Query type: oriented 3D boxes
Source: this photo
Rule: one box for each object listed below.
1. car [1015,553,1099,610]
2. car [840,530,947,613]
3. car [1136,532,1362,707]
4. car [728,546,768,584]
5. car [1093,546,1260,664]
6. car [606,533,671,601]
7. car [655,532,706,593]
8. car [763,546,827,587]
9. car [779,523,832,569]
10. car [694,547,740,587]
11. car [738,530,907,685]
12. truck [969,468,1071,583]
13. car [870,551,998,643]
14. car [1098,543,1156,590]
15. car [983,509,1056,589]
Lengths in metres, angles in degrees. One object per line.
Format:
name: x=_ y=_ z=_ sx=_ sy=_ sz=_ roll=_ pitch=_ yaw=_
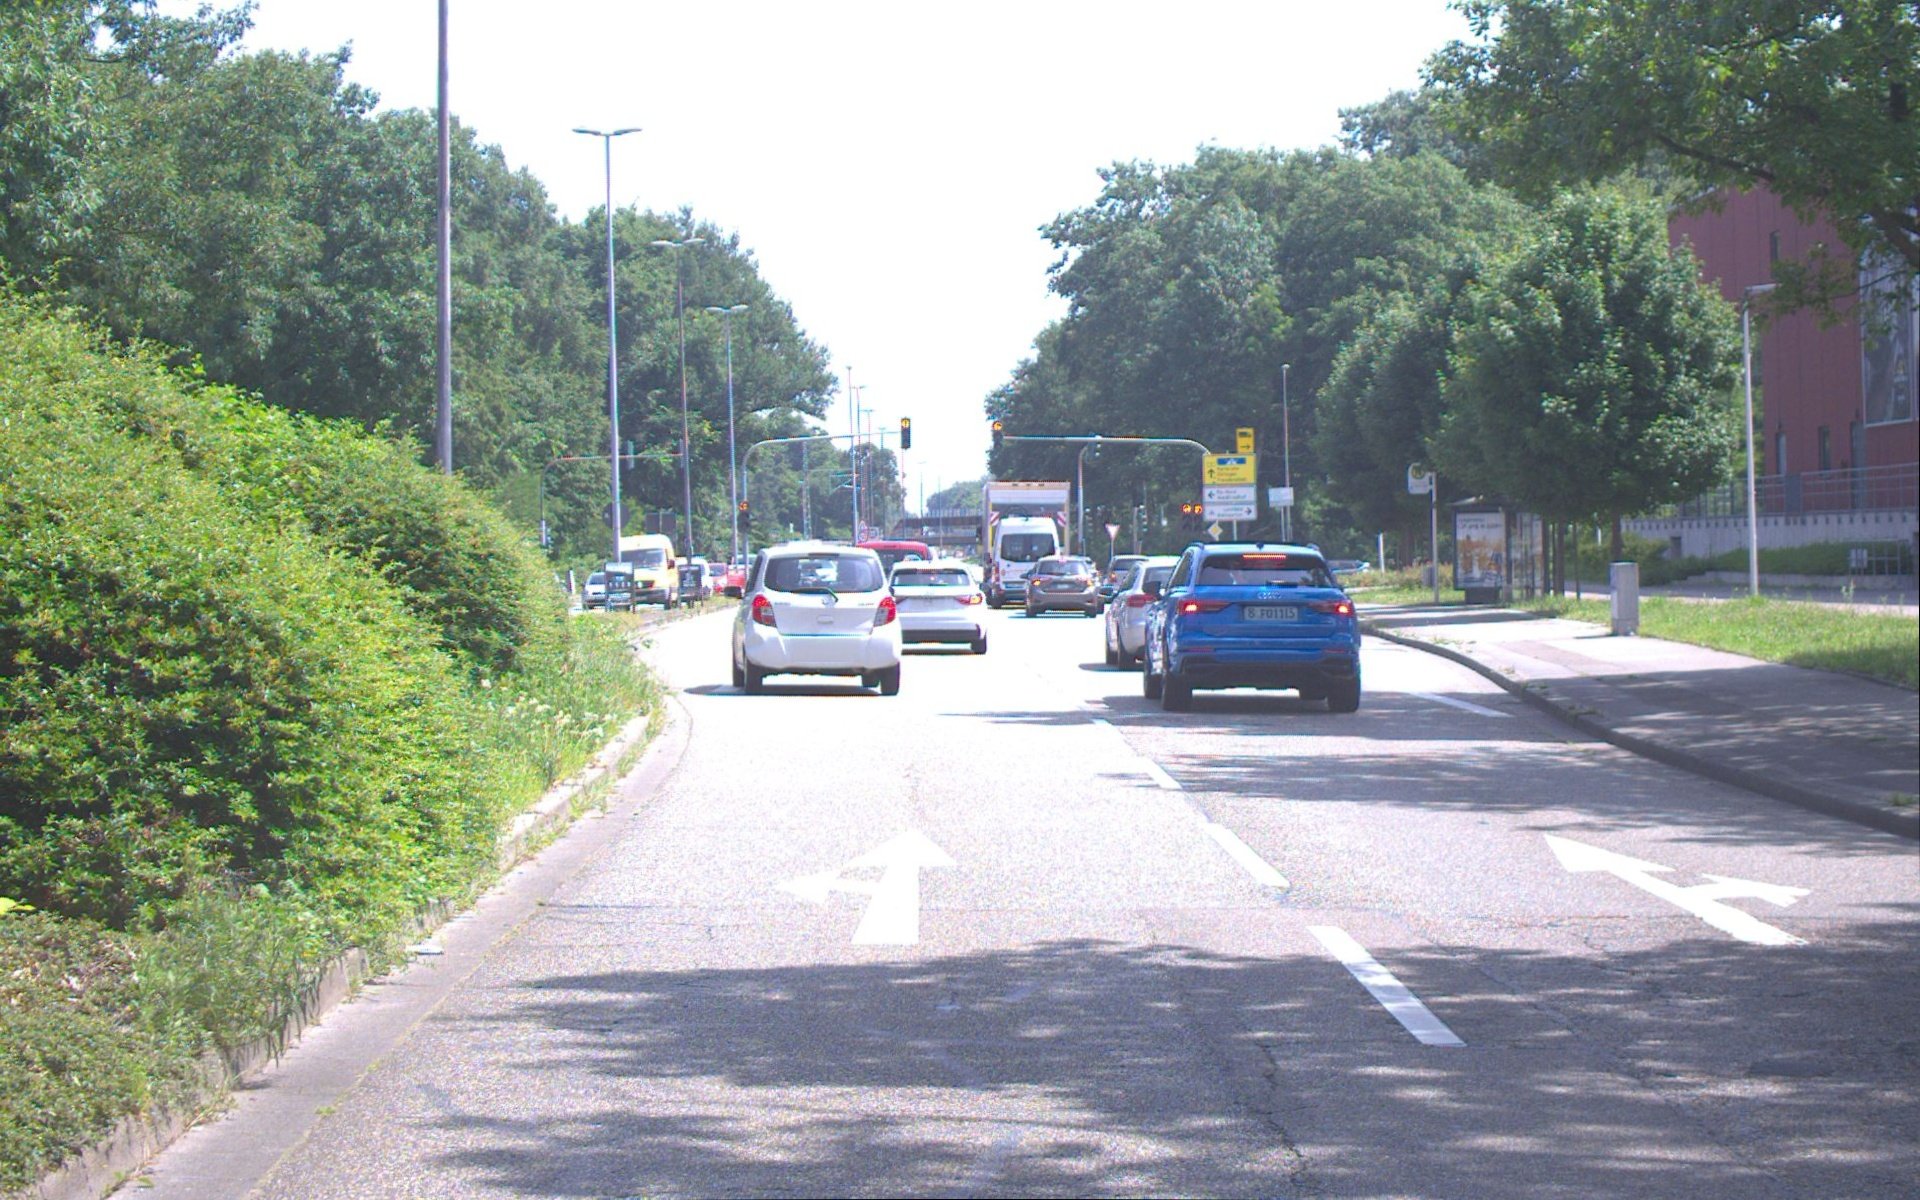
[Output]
car: x=2.385 y=-0.484 z=85.478 sx=1.865 sy=1.305 sz=4.000 roll=-2 pitch=1 yaw=-1
car: x=-1.306 y=-0.543 z=65.784 sx=1.794 sy=1.518 sz=4.001 roll=0 pitch=0 yaw=-5
car: x=2.752 y=0.167 z=33.595 sx=1.808 sy=1.587 sz=4.349 roll=0 pitch=0 yaw=0
car: x=-7.545 y=-1.241 z=122.482 sx=1.368 sy=1.304 sz=2.694 roll=-2 pitch=1 yaw=-3
car: x=2.790 y=0.049 z=45.082 sx=1.865 sy=1.468 sz=4.000 roll=0 pitch=0 yaw=-1
car: x=-10.924 y=-1.118 z=117.092 sx=1.779 sy=2.274 sz=4.752 roll=0 pitch=0 yaw=0
car: x=-10.706 y=-1.416 z=131.559 sx=1.779 sy=2.274 sz=4.001 roll=0 pitch=0 yaw=-7
car: x=-5.544 y=-1.137 z=116.100 sx=1.993 sy=1.284 sz=4.000 roll=-1 pitch=1 yaw=-1
car: x=-6.962 y=-2.440 z=155.359 sx=1.994 sy=2.007 sz=4.000 roll=-2 pitch=1 yaw=3
car: x=-10.407 y=-1.395 z=147.055 sx=1.820 sy=1.667 sz=3.852 roll=0 pitch=0 yaw=-6
car: x=-1.492 y=0.065 z=36.268 sx=1.638 sy=1.547 sz=3.325 roll=-1 pitch=0 yaw=-5
truck: x=1.881 y=-2.393 z=111.485 sx=2.932 sy=3.490 sz=9.158 roll=-1 pitch=1 yaw=-1
car: x=-0.398 y=-0.052 z=52.938 sx=1.884 sy=1.349 sz=4.000 roll=0 pitch=0 yaw=0
car: x=5.495 y=-1.109 z=113.216 sx=1.633 sy=1.459 sz=4.000 roll=-1 pitch=1 yaw=-1
car: x=1.727 y=-1.514 z=100.896 sx=1.993 sy=2.248 sz=4.000 roll=-1 pitch=1 yaw=-1
